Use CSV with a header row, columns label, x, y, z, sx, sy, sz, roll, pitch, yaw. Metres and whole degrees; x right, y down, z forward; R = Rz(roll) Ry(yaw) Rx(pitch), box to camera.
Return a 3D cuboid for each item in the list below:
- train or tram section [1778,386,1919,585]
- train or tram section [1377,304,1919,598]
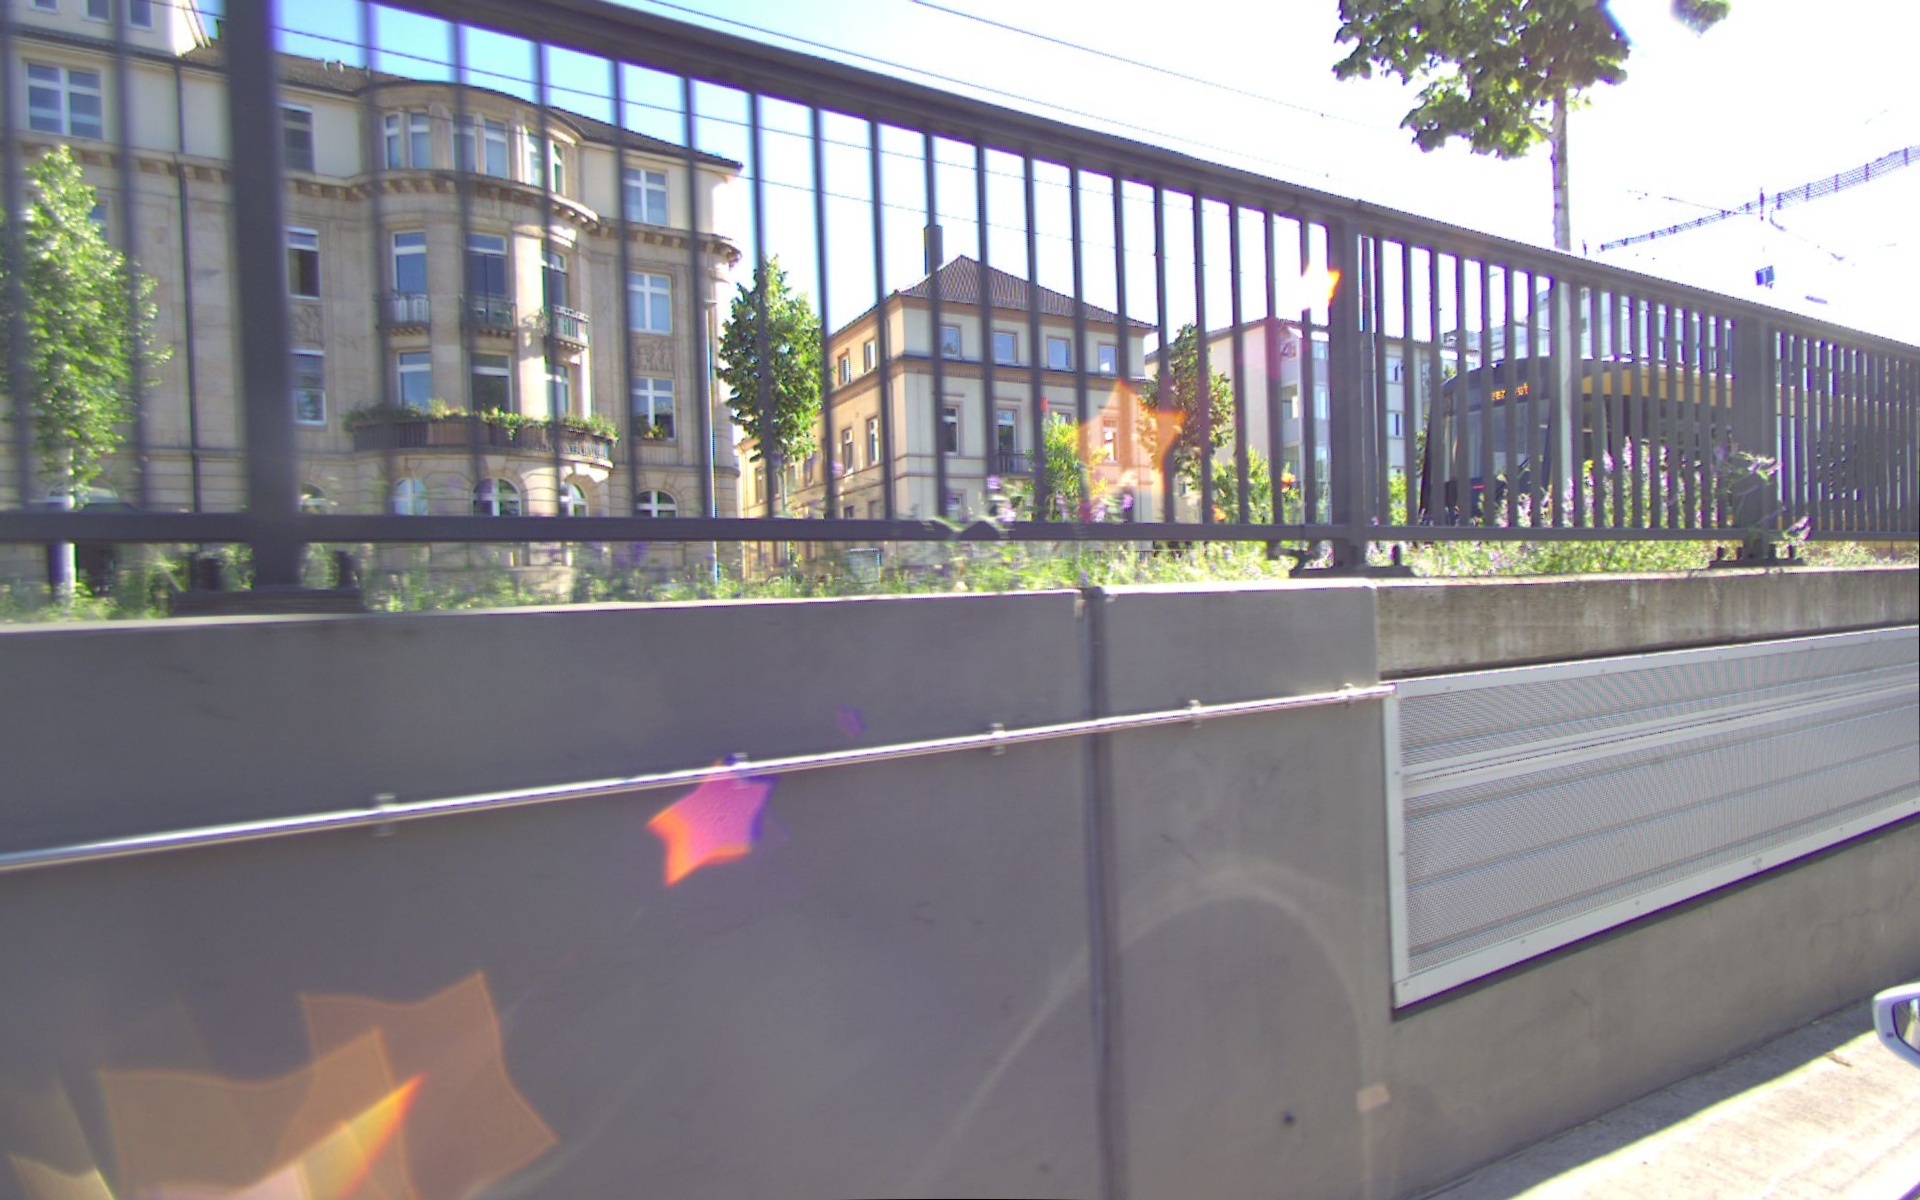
label,x,y,z,sx,sy,sz,roll,pitch,yaw
train or tram section,23.778,-2.365,23.704,12.936,3.873,2.598,-1,2,-31
train or tram section,12.555,-2.025,17.128,13.181,3.705,2.598,-1,2,-30
